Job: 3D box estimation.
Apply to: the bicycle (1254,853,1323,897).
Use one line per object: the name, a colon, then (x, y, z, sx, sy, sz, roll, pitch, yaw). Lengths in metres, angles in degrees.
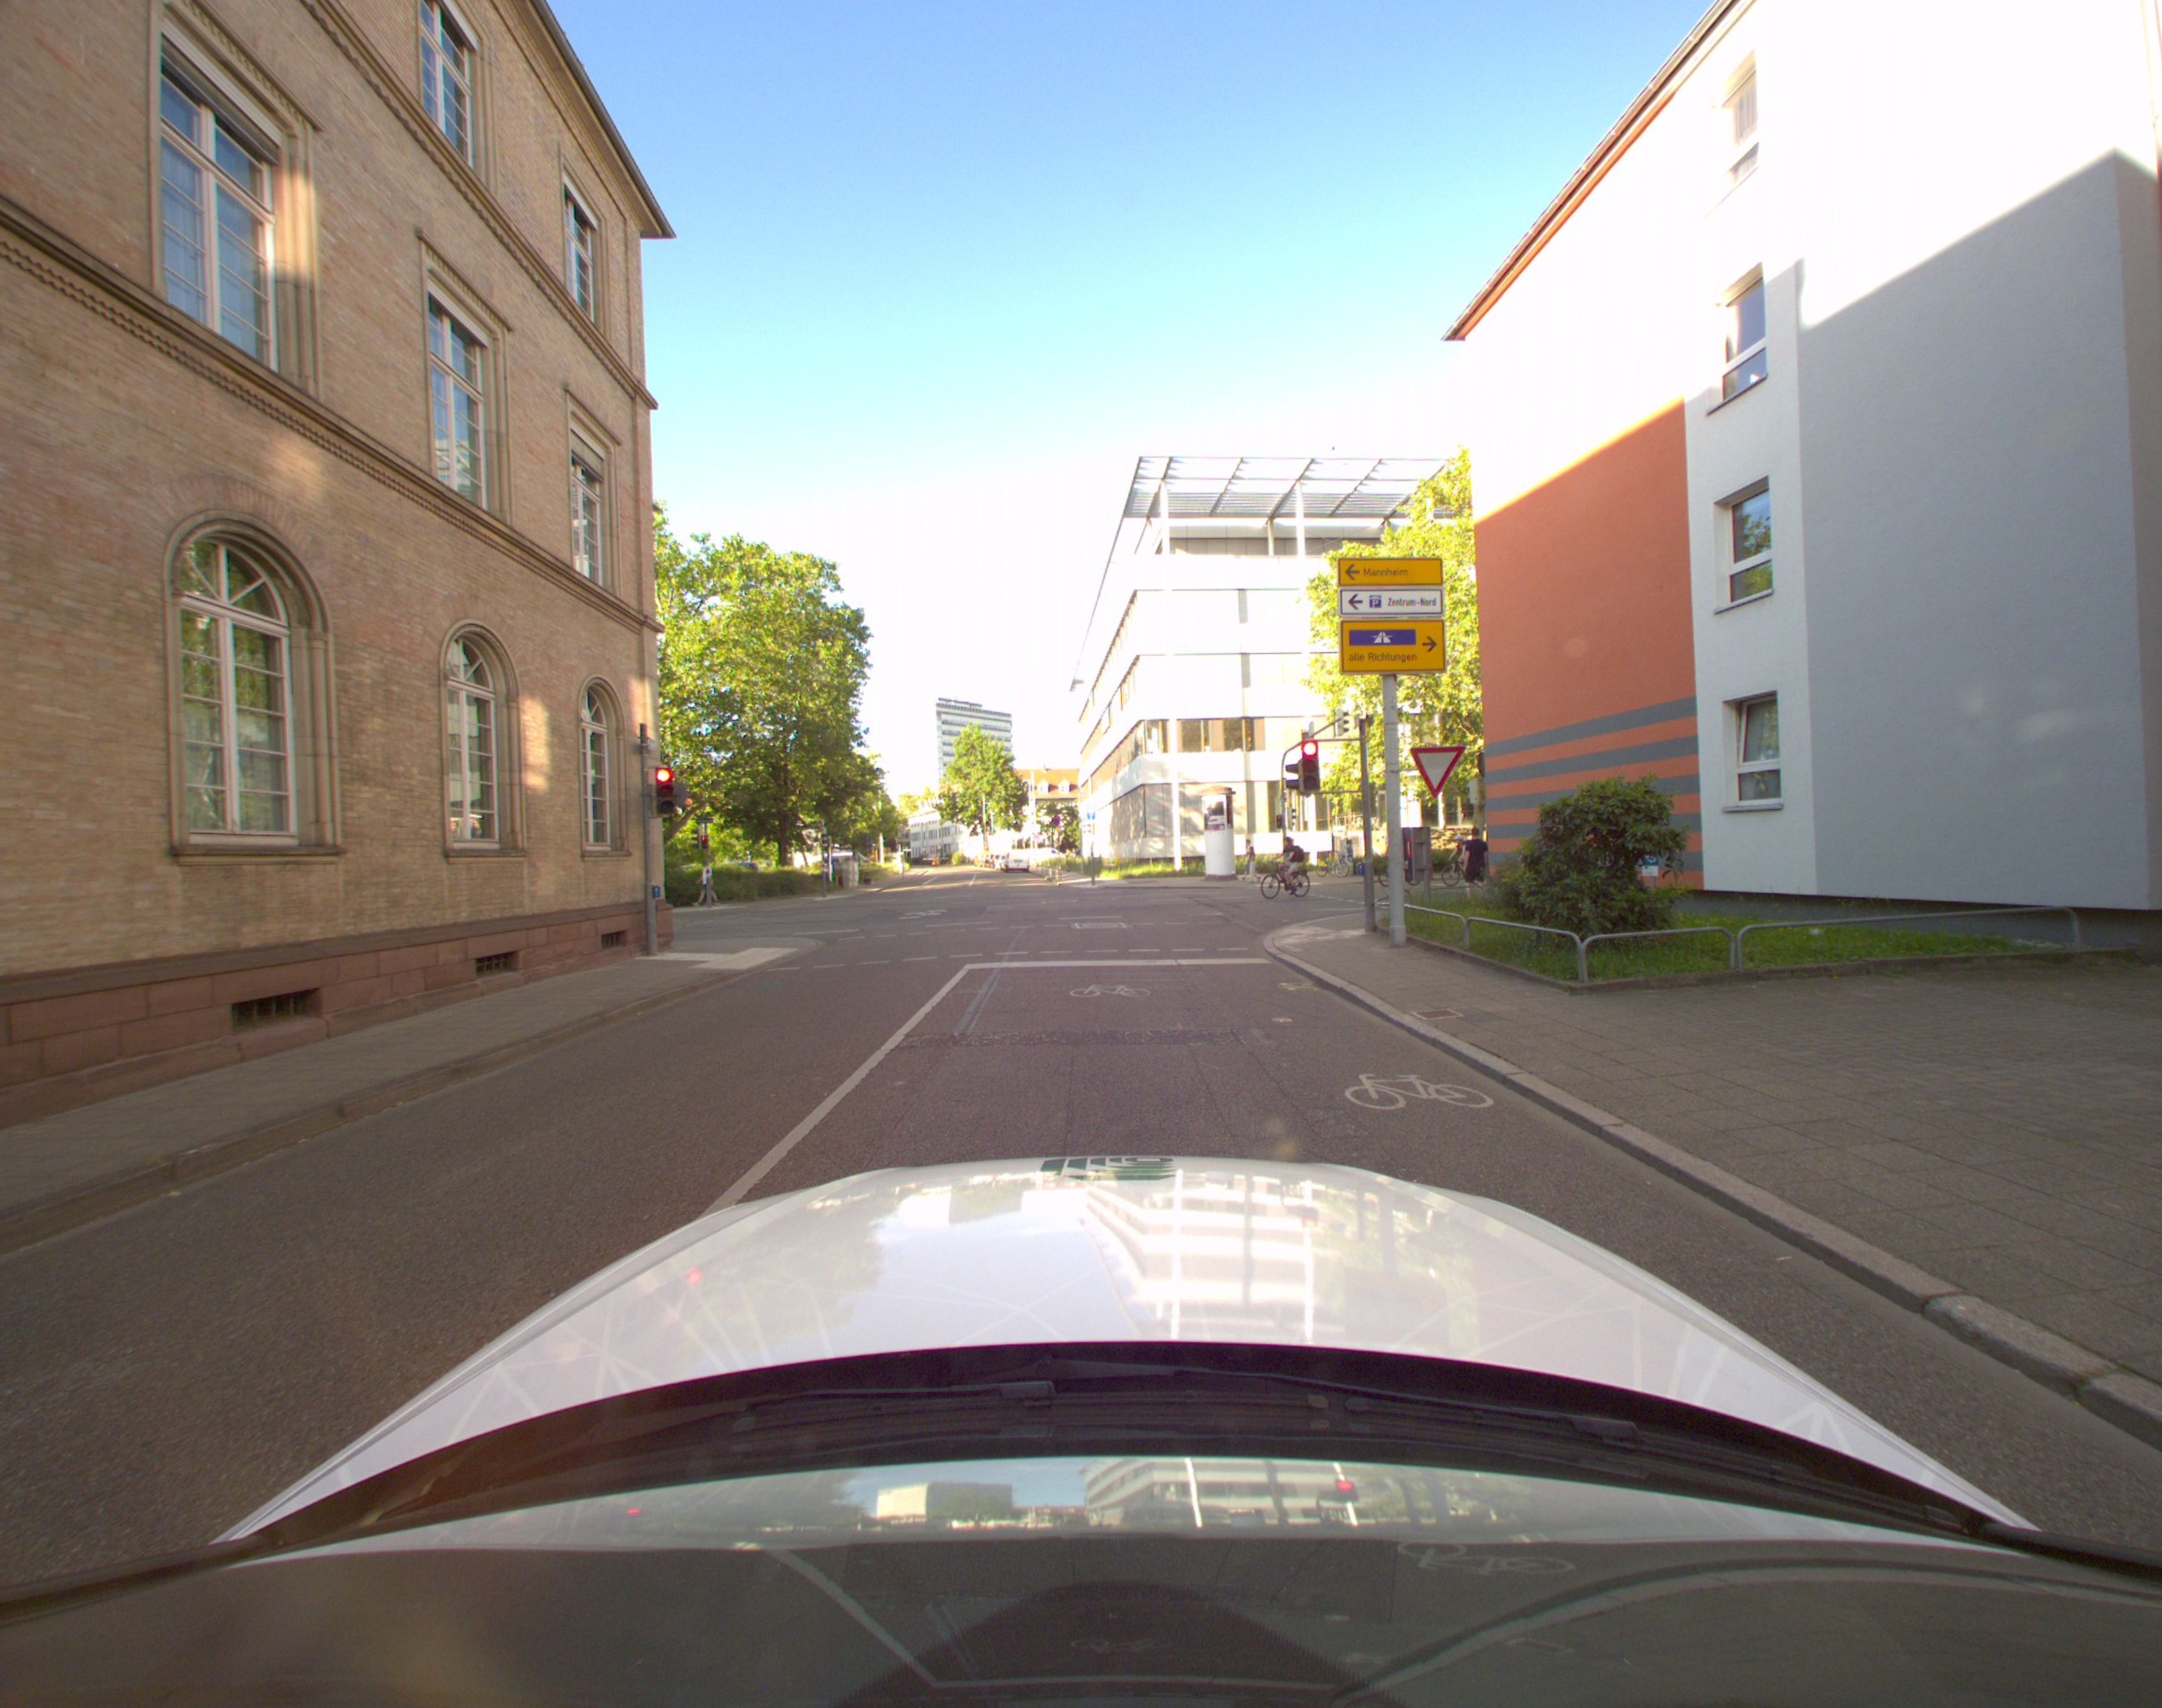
bicycle: (5.987, 0.593, 23.507, 1.973, 1.152, 0.587, -2, 0, -25)

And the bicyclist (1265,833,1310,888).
bicyclist: (5.965, 0.190, 23.516, 1.081, 1.527, 0.587, -2, 0, -25)

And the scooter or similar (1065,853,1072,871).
scooter or similar: (-0.915, 0.585, 58.481, 0.436, 1.256, 1.418, -2, 0, -2)

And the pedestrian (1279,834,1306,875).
pedestrian: (9.445, 0.030, 36.336, 0.766, 1.815, 0.905, 0, -1, -45)

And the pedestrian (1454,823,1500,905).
pedestrian: (9.011, 0.217, 18.521, 0.723, 1.810, 0.693, 0, -1, -39)

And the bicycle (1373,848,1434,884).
bicycle: (11.028, 0.405, 27.844, 1.968, 1.152, 0.624, -2, 0, -17)

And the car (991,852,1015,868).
car: (-7.844, 0.588, 81.632, 1.994, 1.499, 4.270, 0, -1, -11)

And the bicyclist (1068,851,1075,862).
bicyclist: (-1.298, 0.331, 108.469, 0.746, 1.396, 0.589, -2, 0, -15)

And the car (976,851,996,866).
car: (-11.302, 0.540, 96.309, 1.995, 1.725, 4.633, 0, -1, -11)

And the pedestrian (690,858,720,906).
pedestrian: (-15.075, 1.105, 32.660, 0.922, 1.869, 0.734, 0, -1, -42)

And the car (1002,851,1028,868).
car: (-5.849, 0.483, 71.358, 1.993, 1.499, 4.638, 0, 0, -8)

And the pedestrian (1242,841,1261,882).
pedestrian: (7.211, 0.307, 34.514, 0.760, 1.719, 0.649, -1, -1, 9)

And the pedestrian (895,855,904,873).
pedestrian: (-16.018, 0.851, 71.849, 0.700, 1.587, 0.633, 0, -1, -14)

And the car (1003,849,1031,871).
car: (-5.173, 0.472, 65.124, 1.992, 1.725, 4.640, 0, -1, -7)

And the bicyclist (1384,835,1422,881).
bicyclist: (11.013, 0.129, 27.854, 0.918, 1.522, 0.700, -2, 0, -17)

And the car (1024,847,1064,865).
car: (-4.684, 0.273, 103.255, 4.802, 2.159, 1.989, 0, -1, -16)

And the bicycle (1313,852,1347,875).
bicycle: (11.005, 0.428, 36.032, 0.381, 1.008, 1.416, -2, 0, -40)

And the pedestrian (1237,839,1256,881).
pedestrian: (7.193, 0.249, 35.324, 0.760, 1.795, 0.649, -1, -1, 9)

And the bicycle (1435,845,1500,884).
bicycle: (12.417, 0.336, 26.169, 1.773, 1.152, 0.627, -2, 0, -1)

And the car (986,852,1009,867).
car: (-8.885, 0.594, 86.385, 1.994, 1.499, 4.635, 0, -1, -10)

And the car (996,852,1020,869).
car: (-6.921, 0.612, 77.158, 1.993, 1.499, 4.638, 0, 0, -8)

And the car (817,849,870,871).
car: (-22.026, 0.536, 75.774, 4.441, 2.014, 1.995, 0, -1, -8)

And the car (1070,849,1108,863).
car: (1.022, 0.254, 104.961, 4.644, 1.725, 1.990, 0, -1, -15)

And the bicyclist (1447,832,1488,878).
bicyclist: (12.421, 0.033, 26.167, 0.968, 1.446, 0.627, -2, 0, -1)

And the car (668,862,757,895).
car: (-17.084, 1.103, 37.908, 3.407, 1.457, 1.646, 0, -1, -8)
